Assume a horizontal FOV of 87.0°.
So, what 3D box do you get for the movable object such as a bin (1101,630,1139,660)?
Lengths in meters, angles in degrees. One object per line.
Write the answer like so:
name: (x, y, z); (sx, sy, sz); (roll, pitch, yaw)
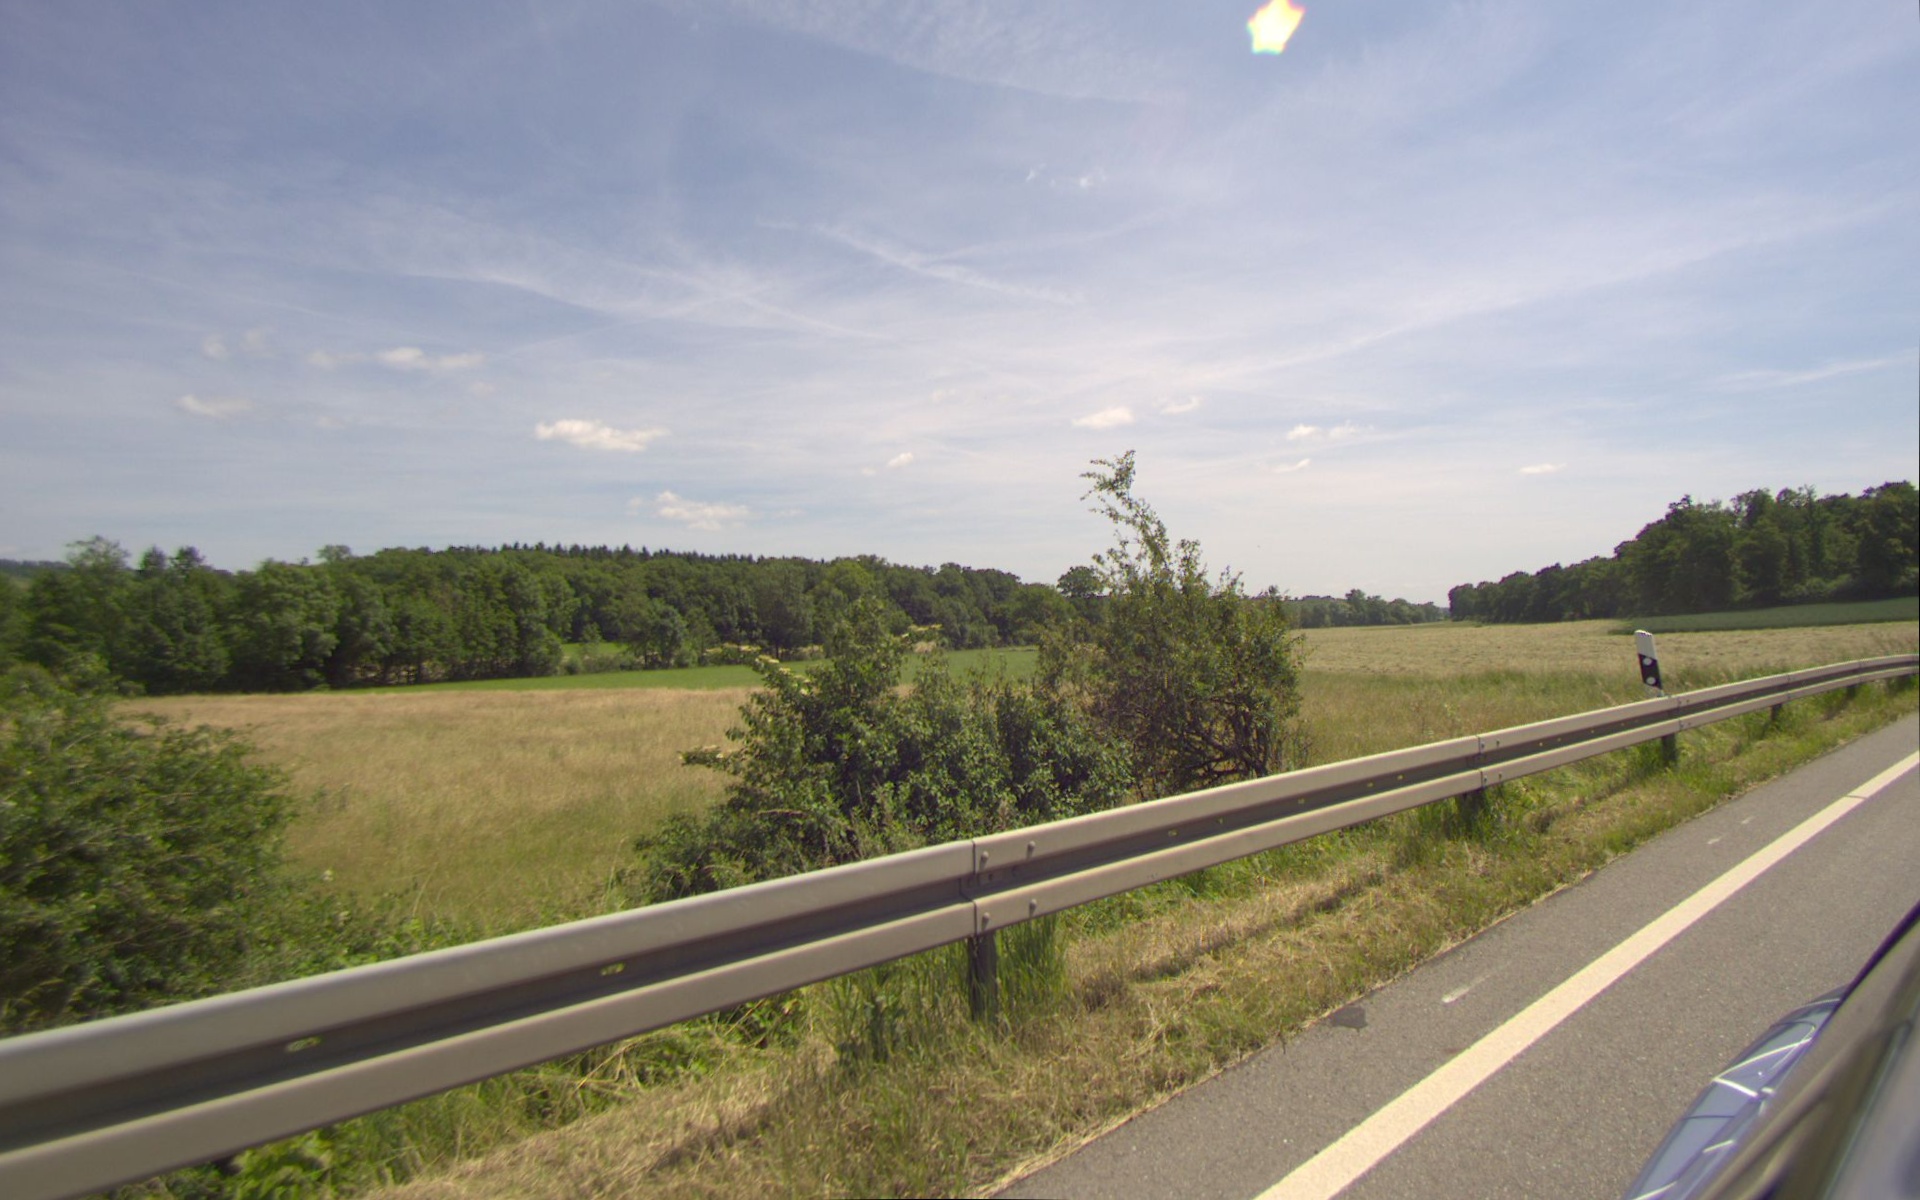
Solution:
movable object such as a bin: (16.308, 4.546, 103.546); (1.914, 2.907, 6.233); (-2, -2, -8)
